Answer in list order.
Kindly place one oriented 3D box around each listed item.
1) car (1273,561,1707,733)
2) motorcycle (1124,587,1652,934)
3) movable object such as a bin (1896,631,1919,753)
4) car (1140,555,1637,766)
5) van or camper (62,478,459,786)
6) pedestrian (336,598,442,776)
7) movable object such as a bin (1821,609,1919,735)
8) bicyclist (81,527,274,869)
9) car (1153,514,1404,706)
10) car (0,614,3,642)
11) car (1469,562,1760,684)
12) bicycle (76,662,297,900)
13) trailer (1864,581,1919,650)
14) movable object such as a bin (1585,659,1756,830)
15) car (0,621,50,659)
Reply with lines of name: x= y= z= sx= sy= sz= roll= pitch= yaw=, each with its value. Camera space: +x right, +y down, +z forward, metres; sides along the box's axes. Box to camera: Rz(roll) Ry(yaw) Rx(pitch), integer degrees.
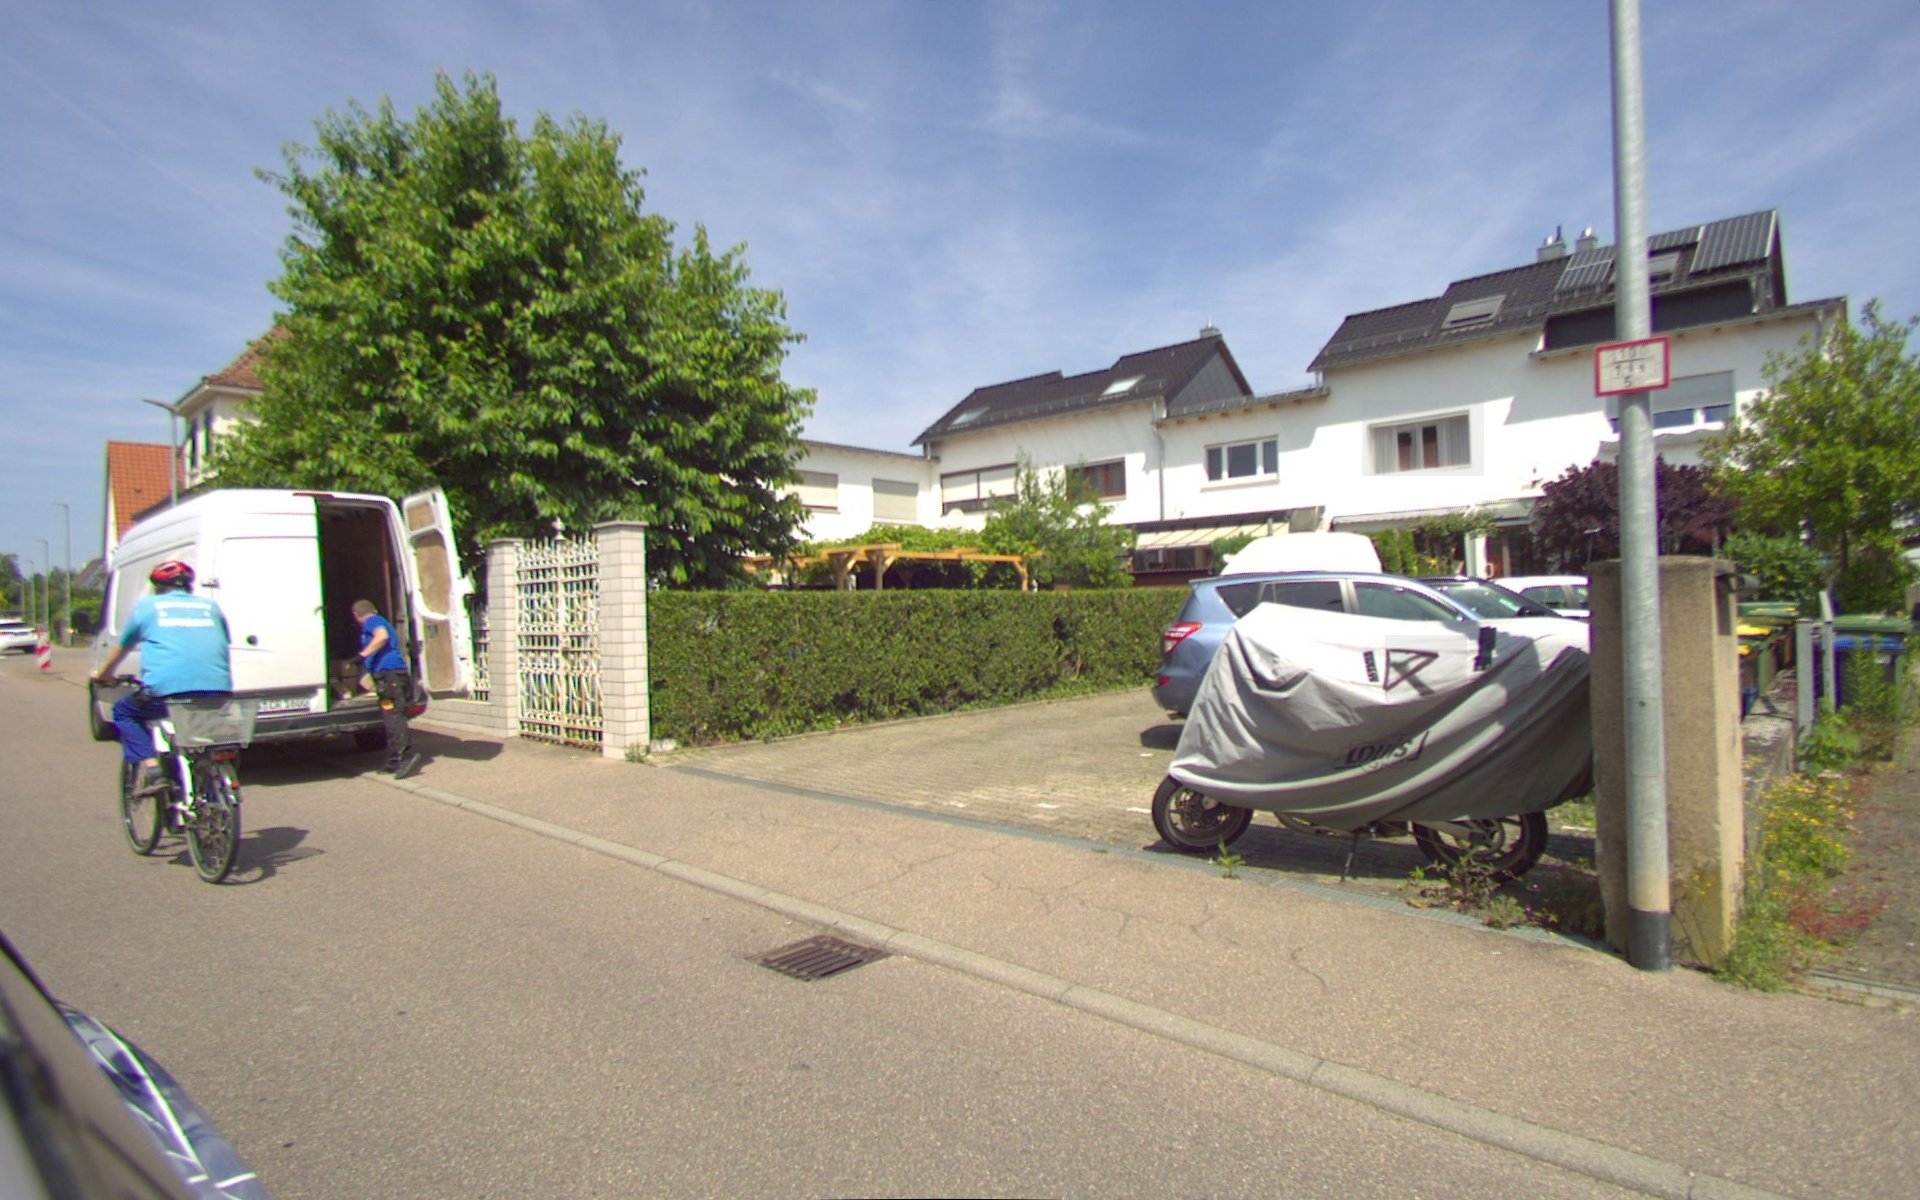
car: x=5.829 y=0.494 z=11.595 sx=4.085 sy=1.691 sz=1.719 roll=-1 pitch=-1 yaw=26
motorcycle: x=2.057 y=0.665 z=5.179 sx=2.352 sy=1.403 sz=0.775 roll=-1 pitch=-1 yaw=42
movable object such as a bin: x=7.760 y=0.719 z=7.999 sx=0.478 sy=0.905 sz=0.804 roll=-1 pitch=0 yaw=40
car: x=3.784 y=0.517 z=9.530 sx=3.906 sy=1.691 sz=1.764 roll=-1 pitch=-1 yaw=18
van or camper: x=-8.292 y=0.309 z=11.584 sx=6.804 sy=2.591 sz=2.161 roll=-2 pitch=0 yaw=42
pedestrian: x=-5.236 y=0.767 z=9.279 sx=0.725 sy=1.529 sz=0.566 roll=-1 pitch=2 yaw=41
movable object such as a bin: x=8.491 y=0.629 z=9.301 sx=0.859 sy=1.049 sz=1.172 roll=-1 pitch=0 yaw=41
bicyclist: x=-4.596 y=0.521 z=5.936 sx=0.941 sy=1.812 sz=0.706 roll=-1 pitch=0 yaw=41
car: x=5.084 y=0.137 z=15.714 sx=1.965 sy=2.511 sz=4.752 roll=-1 pitch=-1 yaw=41
car: x=-68.990 y=2.006 z=71.526 sx=1.945 sy=1.966 sz=4.700 roll=-1 pitch=0 yaw=-44
car: x=10.074 y=0.351 z=15.847 sx=3.319 sy=1.691 sz=1.768 roll=-2 pitch=0 yaw=12
bicycle: x=-4.750 y=0.983 z=6.148 sx=2.188 sy=1.141 sz=0.663 roll=-1 pitch=-2 yaw=42
trailer: x=20.623 y=0.274 z=21.330 sx=2.042 sy=1.317 sz=4.709 roll=-1 pitch=0 yaw=39
movable object such as a bin: x=4.422 y=0.851 z=6.296 sx=0.773 sy=0.912 sz=0.791 roll=-1 pitch=-1 yaw=42
car: x=-39.493 y=1.637 z=40.656 sx=4.439 sy=1.408 sz=1.926 roll=-1 pitch=0 yaw=6
